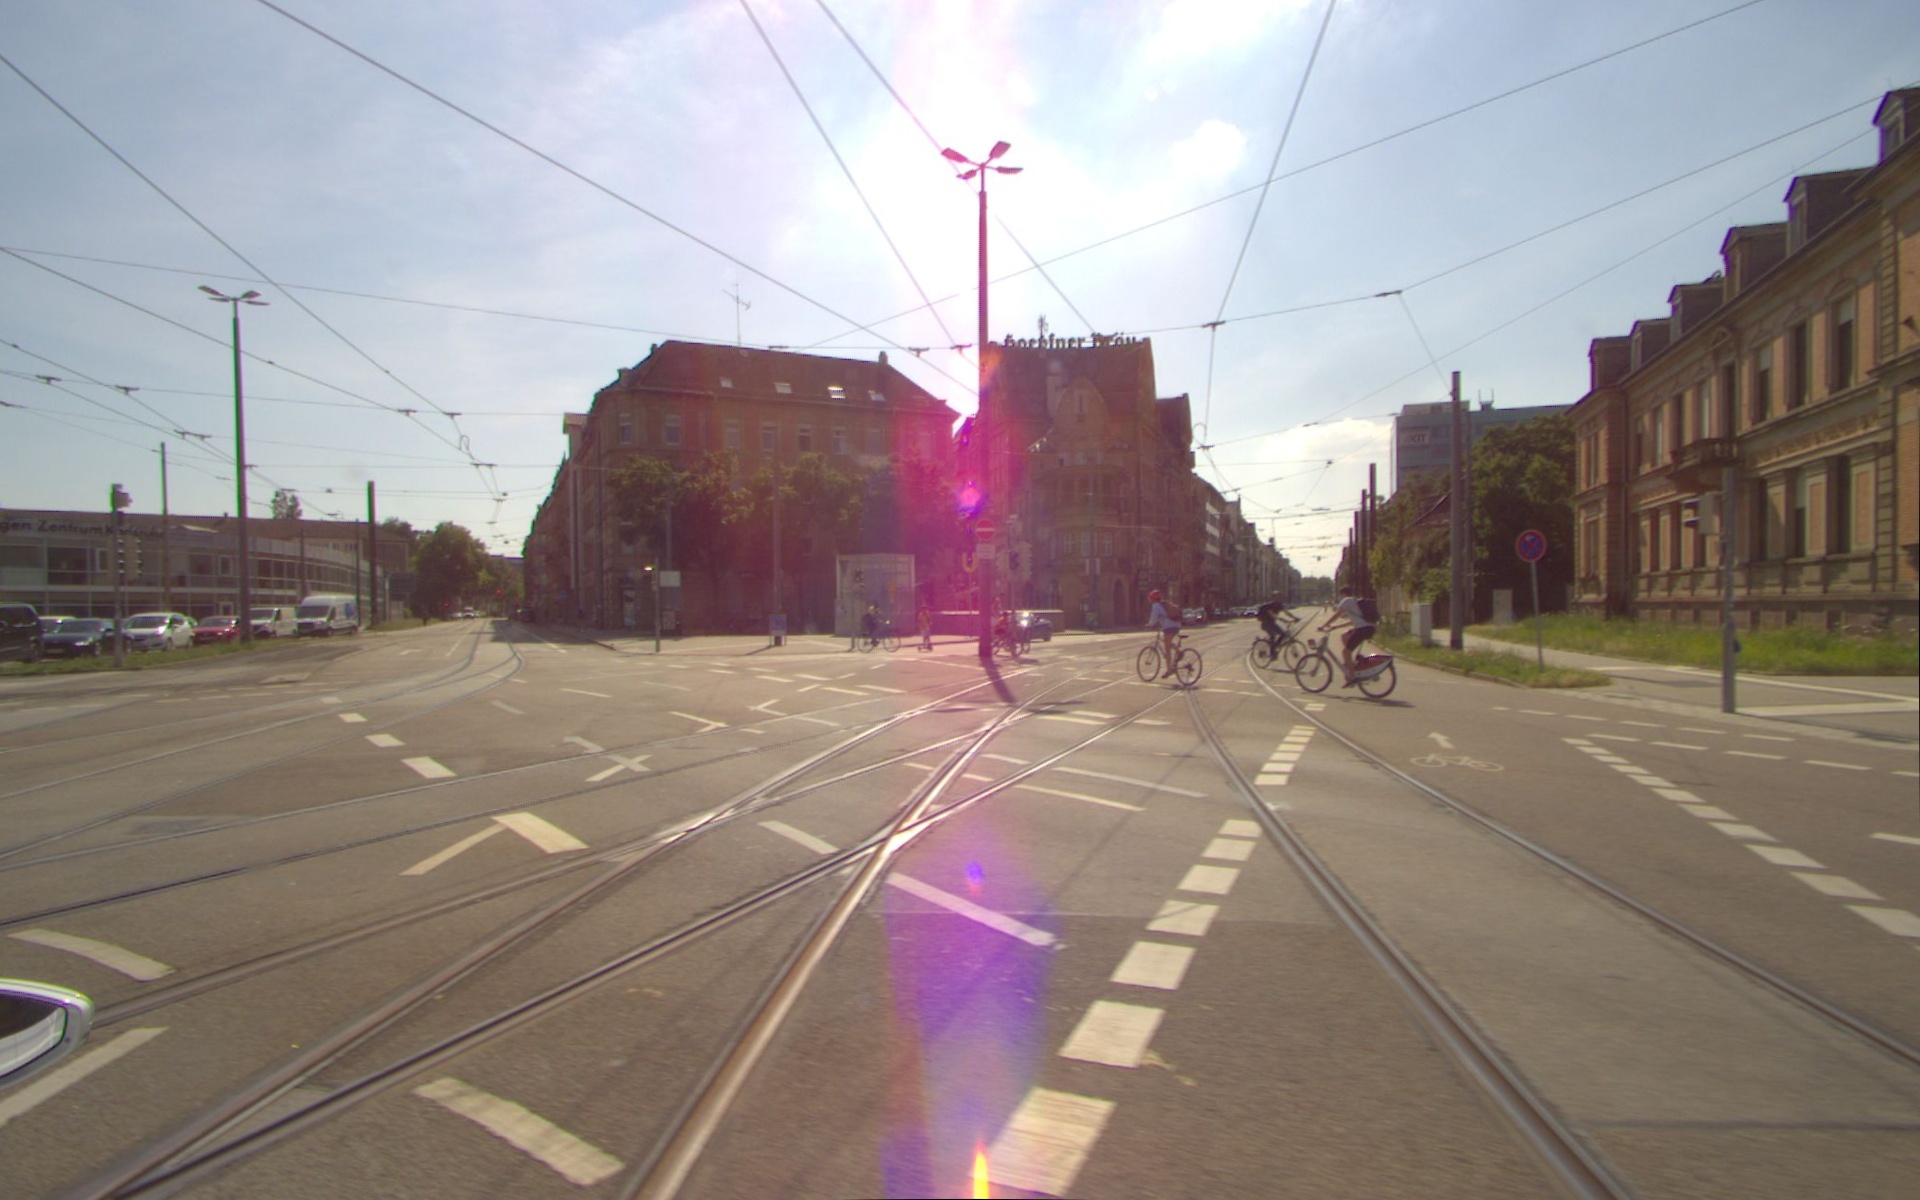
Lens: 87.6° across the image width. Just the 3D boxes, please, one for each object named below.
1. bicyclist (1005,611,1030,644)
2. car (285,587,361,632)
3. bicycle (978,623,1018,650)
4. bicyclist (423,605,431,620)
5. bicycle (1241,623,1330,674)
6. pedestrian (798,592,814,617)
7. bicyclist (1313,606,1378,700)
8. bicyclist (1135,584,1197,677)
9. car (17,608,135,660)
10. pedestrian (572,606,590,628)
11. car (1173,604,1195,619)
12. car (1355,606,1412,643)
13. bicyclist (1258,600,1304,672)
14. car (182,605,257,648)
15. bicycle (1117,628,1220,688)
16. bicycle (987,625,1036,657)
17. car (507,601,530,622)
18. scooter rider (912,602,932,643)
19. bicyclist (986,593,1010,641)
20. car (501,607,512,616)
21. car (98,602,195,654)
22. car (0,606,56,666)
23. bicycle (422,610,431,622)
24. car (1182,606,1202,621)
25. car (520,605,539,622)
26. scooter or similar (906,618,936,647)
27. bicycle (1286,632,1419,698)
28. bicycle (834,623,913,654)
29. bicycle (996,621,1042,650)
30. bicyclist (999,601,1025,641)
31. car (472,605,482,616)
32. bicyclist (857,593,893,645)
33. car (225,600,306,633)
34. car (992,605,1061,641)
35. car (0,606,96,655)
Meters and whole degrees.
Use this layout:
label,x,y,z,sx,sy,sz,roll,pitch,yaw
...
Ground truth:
label,x,y,z,sx,sy,sz,roll,pitch,yaw
bicyclist,1.824,0.866,31.799,0.497,1.042,0.600,2,-1,-42
car,-39.228,0.651,61.844,2.175,2.608,5.870,1,-2,-14
bicycle,1.286,1.238,34.326,0.495,0.877,1.576,2,-1,-35
bicyclist,-59.875,1.393,112.450,0.743,1.588,1.083,1,-2,-26
bicycle,7.511,1.095,23.237,0.657,1.083,2.459,1,-1,-17
pedestrian,-8.768,0.258,56.983,0.699,1.451,0.614,0,-1,12
bicyclist,6.356,0.873,16.555,0.933,1.507,0.716,0,-1,16
bicyclist,3.938,0.569,19.140,0.706,1.692,0.869,-3,2,-32
car,-29.337,1.122,33.378,1.871,1.608,3.986,-1,-1,-26
pedestrian,-25.025,1.141,66.171,0.869,1.452,0.712,0,1,8
car,20.673,1.049,92.352,1.609,1.363,3.576,0,0,19
car,16.499,0.926,39.136,1.642,1.331,3.447,0,0,16
bicyclist,7.486,0.826,23.363,0.657,1.645,0.781,1,0,-17
car,-34.811,1.251,47.205,1.869,1.941,4.188,-1,-1,-23
bicycle,3.960,1.083,19.168,0.706,1.029,2.009,-3,1,-32
bicycle,1.559,1.237,30.350,0.515,0.898,1.560,-1,1,-43
car,-46.138,1.200,104.626,1.971,2.039,3.983,1,-2,-28
scooter rider,-1.345,0.797,35.188,0.582,1.415,0.403,2,-2,-41
bicyclist,1.292,0.585,34.348,0.495,1.642,0.645,1,-1,-35
car,-103.206,2.678,228.011,1.966,2.040,3.989,0,0,-21
car,-32.223,1.101,39.780,1.869,1.941,4.188,-1,-1,-23
car,-26.742,0.991,27.054,1.935,1.608,4.702,-1,-1,-23
bicycle,-59.867,1.799,112.413,0.743,1.209,2.828,1,-2,-26
car,23.058,1.330,99.336,1.609,1.363,3.604,0,0,19
car,-57.000,1.791,132.537,2.083,2.039,3.986,1,-2,-25
scooter or similar,-1.365,1.148,35.202,0.582,0.988,0.983,2,-2,-40
bicycle,6.434,1.057,16.532,1.984,1.028,0.716,0,-2,17
bicycle,-3.144,1.383,36.253,2.698,1.083,0.928,0,-2,19
bicycle,1.860,1.109,31.750,0.497,0.877,1.573,2,-1,-42
bicyclist,1.570,0.629,30.311,0.515,1.213,0.598,-1,2,-43
car,-101.659,2.242,210.806,1.807,2.242,3.987,-1,0,-23
bicyclist,-3.075,0.683,36.278,1.033,1.843,0.929,0,-1,16
car,-37.528,0.877,54.286,2.154,1.703,5.019,-1,0,-17
car,3.121,1.035,46.423,1.614,1.605,3.981,0,0,30
car,-34.634,1.157,37.944,1.630,1.761,4.188,-1,-1,-23
